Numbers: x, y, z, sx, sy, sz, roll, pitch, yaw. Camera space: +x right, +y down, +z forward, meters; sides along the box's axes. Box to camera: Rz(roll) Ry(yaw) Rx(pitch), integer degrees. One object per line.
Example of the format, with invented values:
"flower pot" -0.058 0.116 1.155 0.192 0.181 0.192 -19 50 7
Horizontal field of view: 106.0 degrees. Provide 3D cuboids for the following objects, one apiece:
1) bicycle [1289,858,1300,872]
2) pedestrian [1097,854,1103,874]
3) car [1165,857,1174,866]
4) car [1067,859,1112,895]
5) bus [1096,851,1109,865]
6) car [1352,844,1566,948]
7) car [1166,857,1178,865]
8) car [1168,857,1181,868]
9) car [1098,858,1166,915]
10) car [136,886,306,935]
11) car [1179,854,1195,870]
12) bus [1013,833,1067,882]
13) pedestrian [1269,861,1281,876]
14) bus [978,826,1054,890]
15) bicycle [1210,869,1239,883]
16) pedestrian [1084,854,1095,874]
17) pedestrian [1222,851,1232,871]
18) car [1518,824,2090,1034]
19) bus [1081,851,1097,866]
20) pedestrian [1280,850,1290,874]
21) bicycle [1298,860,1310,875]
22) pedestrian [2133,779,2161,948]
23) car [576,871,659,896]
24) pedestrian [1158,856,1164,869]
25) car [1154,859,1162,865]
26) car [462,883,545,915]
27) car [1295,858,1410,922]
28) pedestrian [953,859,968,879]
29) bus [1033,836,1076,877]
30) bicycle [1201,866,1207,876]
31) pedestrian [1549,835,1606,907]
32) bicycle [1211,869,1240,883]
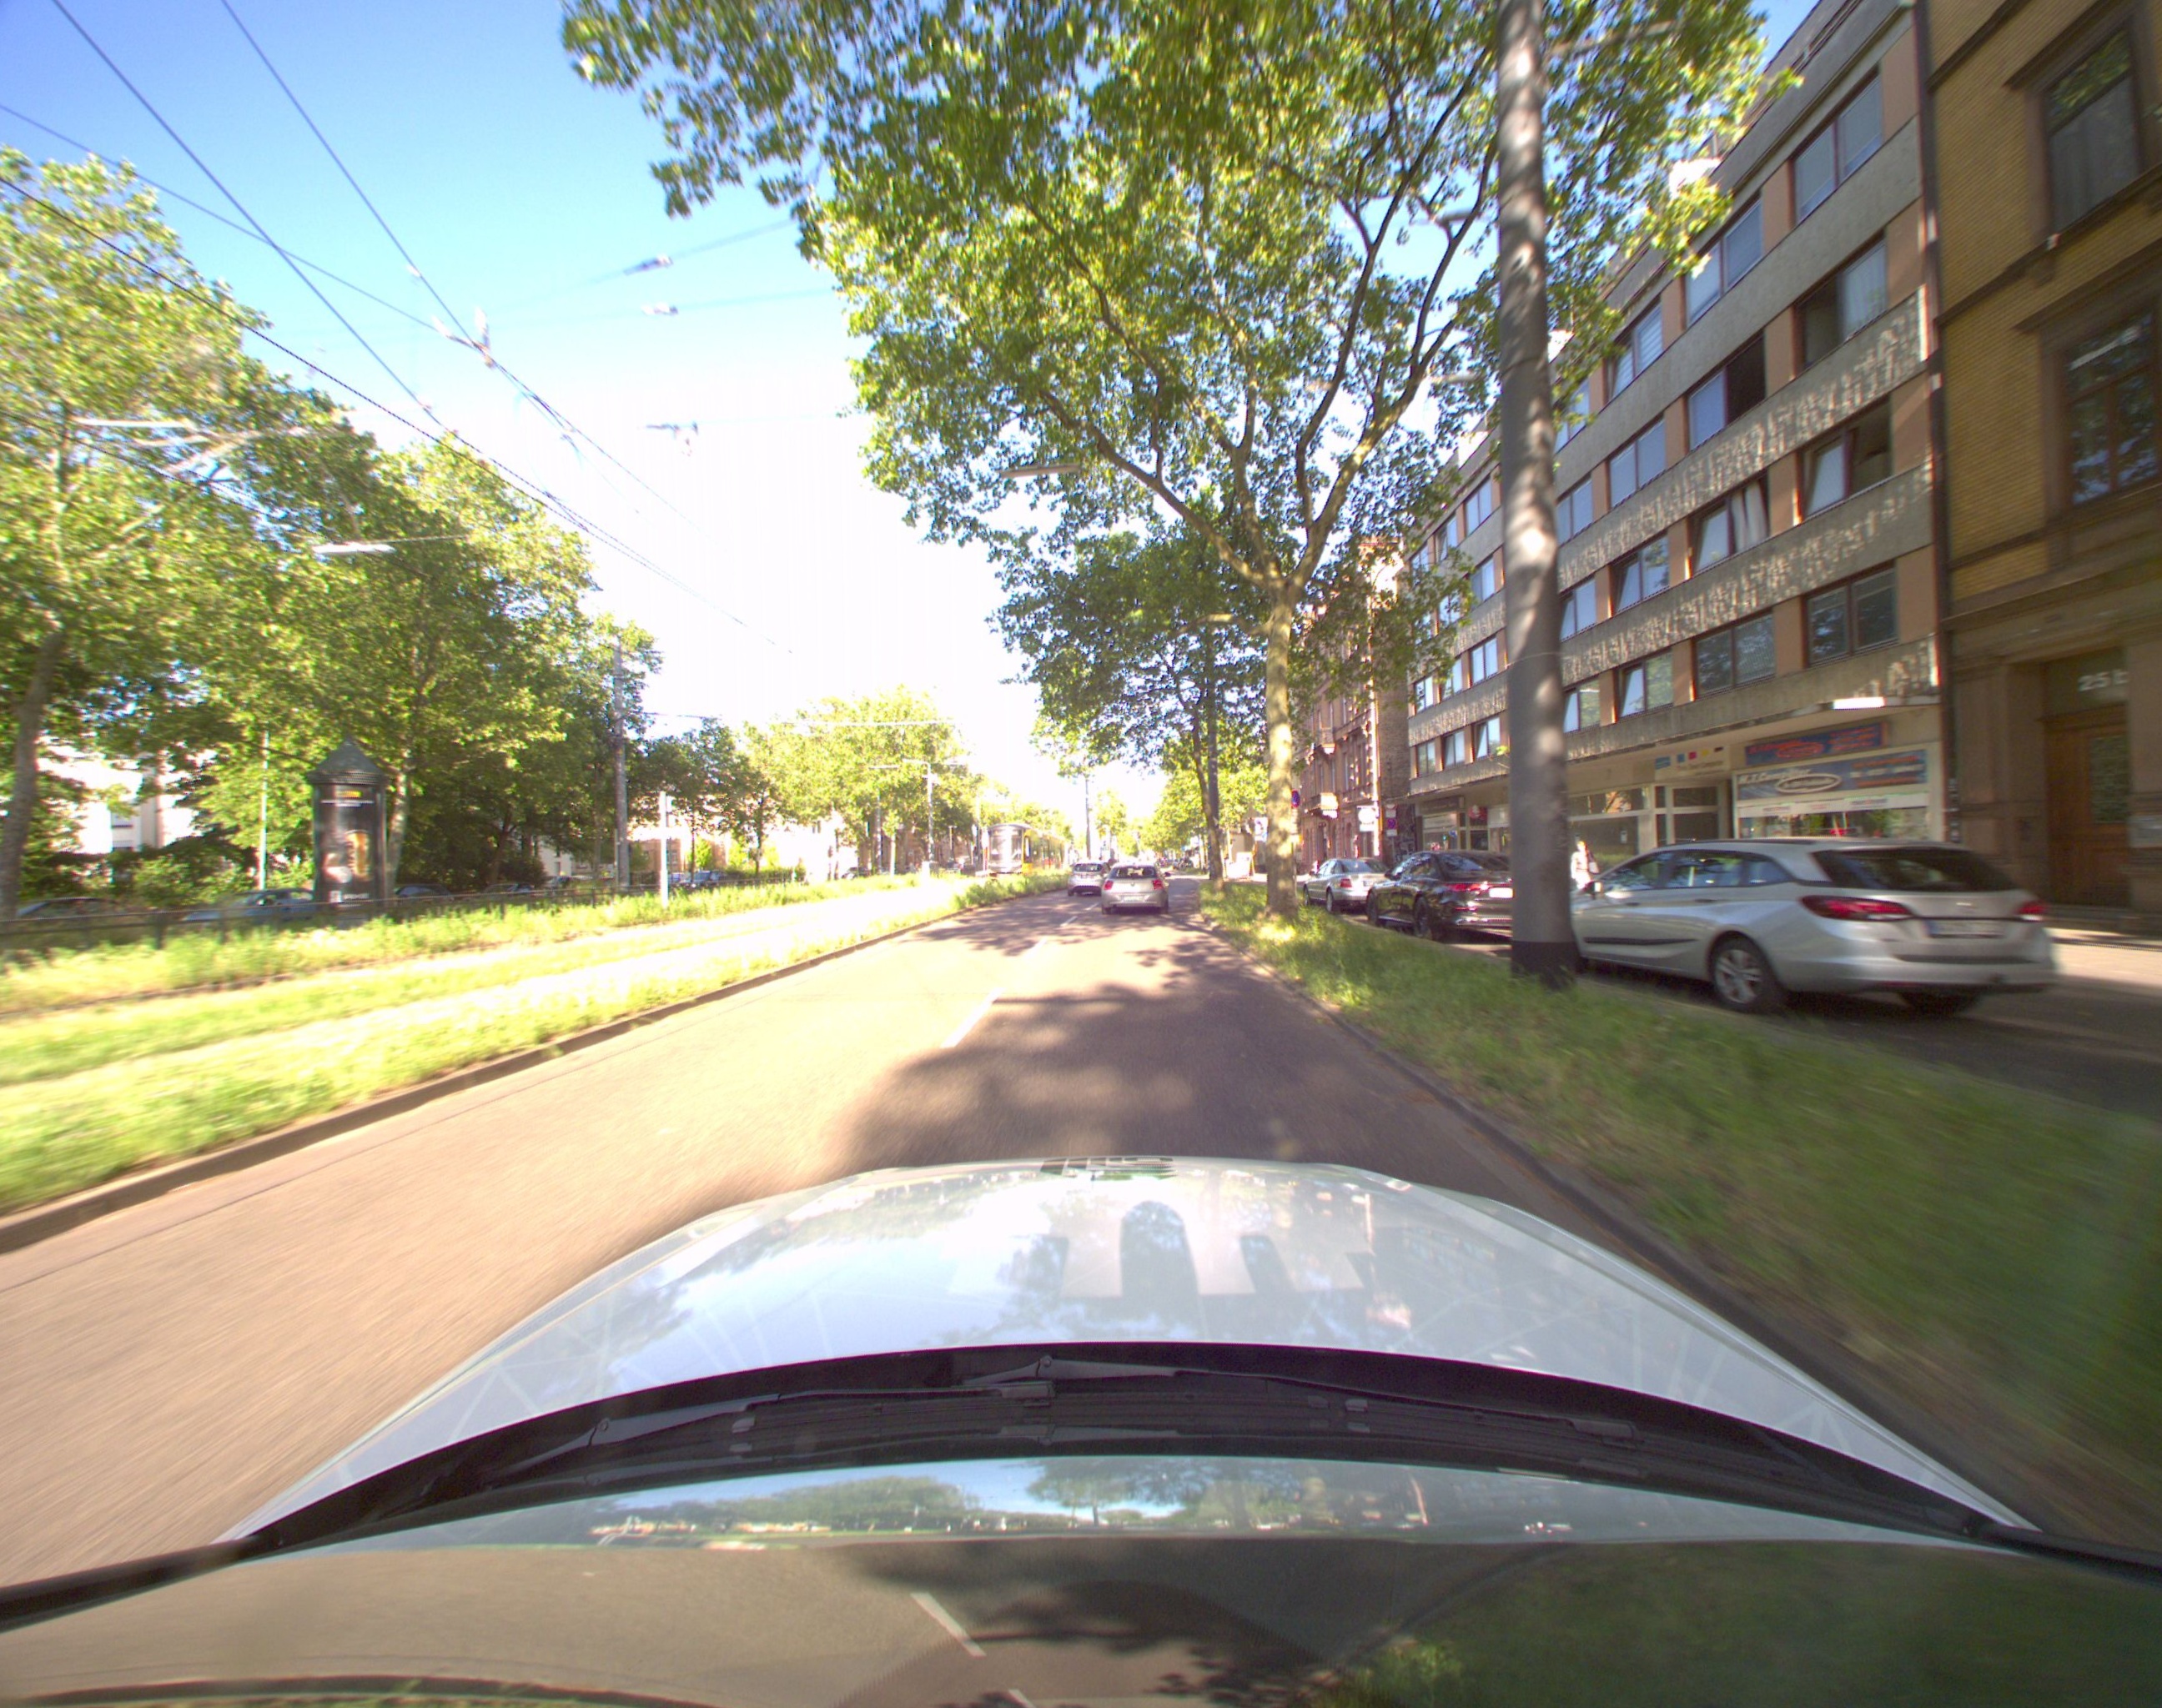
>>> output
"bicycle" 15.897 0.817 60.670 0.441 0.993 1.690 0 0 2
"pedestrian" 1.775 0.960 76.710 0.450 1.903 0.584 -1 -1 -4
"car" 16.915 1.410 155.832 1.662 1.551 4.004 0 0 3
"car" 0.401 0.910 33.773 1.639 1.363 3.763 0 0 4
"bus" 5.647 0.983 213.009 2.738 3.625 18.865 -1 0 4
"car" 6.281 0.621 14.240 1.797 1.490 4.925 0 0 4
"car" 16.703 1.304 150.262 1.985 1.509 4.601 0 -1 3
"car" 14.217 1.283 123.919 1.685 1.658 4.043 -1 1 3
"car" 1.424 0.851 23.140 1.755 1.432 4.003 0 0 2
"car" -25.458 1.631 24.269 1.401 1.228 3.361 -1 0 2
"car" 14.083 1.044 108.782 1.747 1.965 4.741 -1 0 3
"bus" -3.020 0.273 64.364 2.857 3.444 12.226 -1 0 4
"pedestrian" 15.588 1.145 65.345 0.774 1.161 0.466 0 0 -22
"bus" -3.802 0.245 51.570 2.857 3.444 13.229 -1 0 4
"bicycle" 10.431 1.581 59.204 2.007 0.993 0.444 0 0 1
"pedestrian" 0.817 0.986 79.007 1.068 1.916 1.127 -1 -1 1
"pedestrian" 14.182 0.672 79.282 0.877 2.013 0.858 0 0 6
"car" 6.334 0.538 8.066 1.670 1.466 4.672 0 0 2
"bus" 2.167 1.009 215.994 2.856 3.628 24.626 -1 0 4
"pedestrian" 15.197 0.589 60.728 0.463 1.810 0.779 0 0 34
"bicycle" 15.796 0.948 57.717 0.441 0.993 1.690 0 0 2
"pedestrian" 12.219 0.090 8.684 0.995 1.840 0.716 -1 -1 5
"car" -23.868 1.508 42.112 1.785 1.178 4.003 0 0 3
"pedestrian" 13.250 1.404 134.836 0.833 2.013 0.650 0 0 10
"car" 18.754 1.922 197.767 1.693 1.534 3.720 0 0 3
"car" -24.409 1.889 34.513 1.395 1.200 2.846 -1 0 2
"car" 6.976 0.859 21.401 1.694 1.424 4.520 0 0 2
"pedestrian" -10.287 1.275 69.402 1.174 1.643 0.891 -1 -1 -4
"bus" -2.322 0.234 76.275 2.857 3.444 11.621 -1 0 4
"bicycle" 11.536 1.593 76.526 0.426 0.970 1.752 0 0 3
"pedestrian" 12.431 0.405 20.406 0.995 1.760 0.716 0 0 3
"bicycle" 10.393 1.582 58.600 1.996 0.993 0.444 0 0 1
